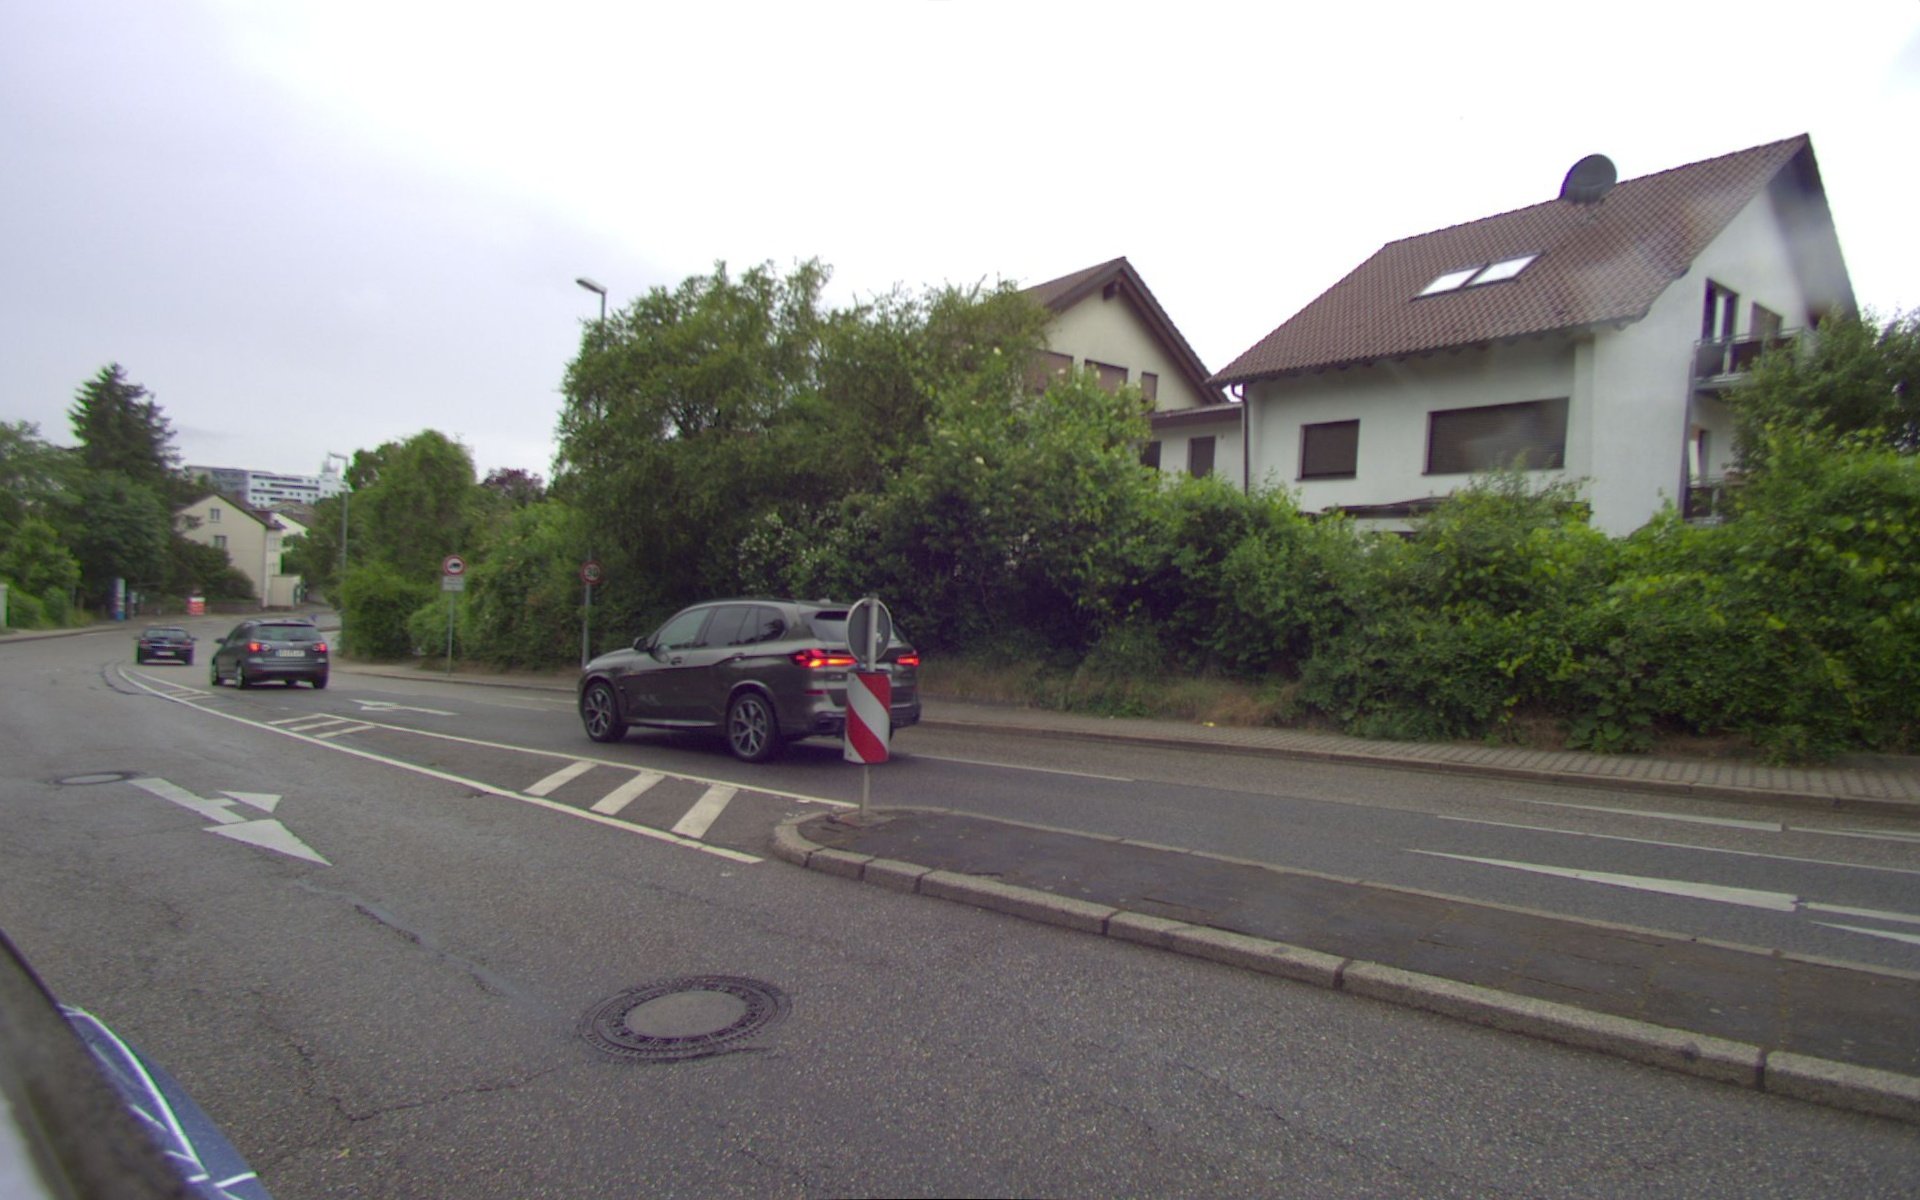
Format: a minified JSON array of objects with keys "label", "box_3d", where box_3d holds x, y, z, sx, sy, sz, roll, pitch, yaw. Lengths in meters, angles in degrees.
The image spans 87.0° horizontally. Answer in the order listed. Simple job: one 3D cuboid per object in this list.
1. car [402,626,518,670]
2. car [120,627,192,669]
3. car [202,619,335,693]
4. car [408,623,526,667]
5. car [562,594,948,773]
[{"label":"car","box_3d":[-20.996,1.955,42.554,3.939,1.548,2.003,-3,1,-42]},{"label":"car","box_3d":[-30.514,1.786,38.383,1.872,1.521,4.005,3,-3,-42]},{"label":"car","box_3d":[-16.408,1.283,23.933,4.032,1.614,1.723,-1,-4,43]},{"label":"car","box_3d":[-19.515,1.748,40.111,3.853,1.451,1.814,-3,1,-41]},{"label":"car","box_3d":[-2.582,0.878,12.088,4.712,1.730,1.974,-1,-3,39]}]
